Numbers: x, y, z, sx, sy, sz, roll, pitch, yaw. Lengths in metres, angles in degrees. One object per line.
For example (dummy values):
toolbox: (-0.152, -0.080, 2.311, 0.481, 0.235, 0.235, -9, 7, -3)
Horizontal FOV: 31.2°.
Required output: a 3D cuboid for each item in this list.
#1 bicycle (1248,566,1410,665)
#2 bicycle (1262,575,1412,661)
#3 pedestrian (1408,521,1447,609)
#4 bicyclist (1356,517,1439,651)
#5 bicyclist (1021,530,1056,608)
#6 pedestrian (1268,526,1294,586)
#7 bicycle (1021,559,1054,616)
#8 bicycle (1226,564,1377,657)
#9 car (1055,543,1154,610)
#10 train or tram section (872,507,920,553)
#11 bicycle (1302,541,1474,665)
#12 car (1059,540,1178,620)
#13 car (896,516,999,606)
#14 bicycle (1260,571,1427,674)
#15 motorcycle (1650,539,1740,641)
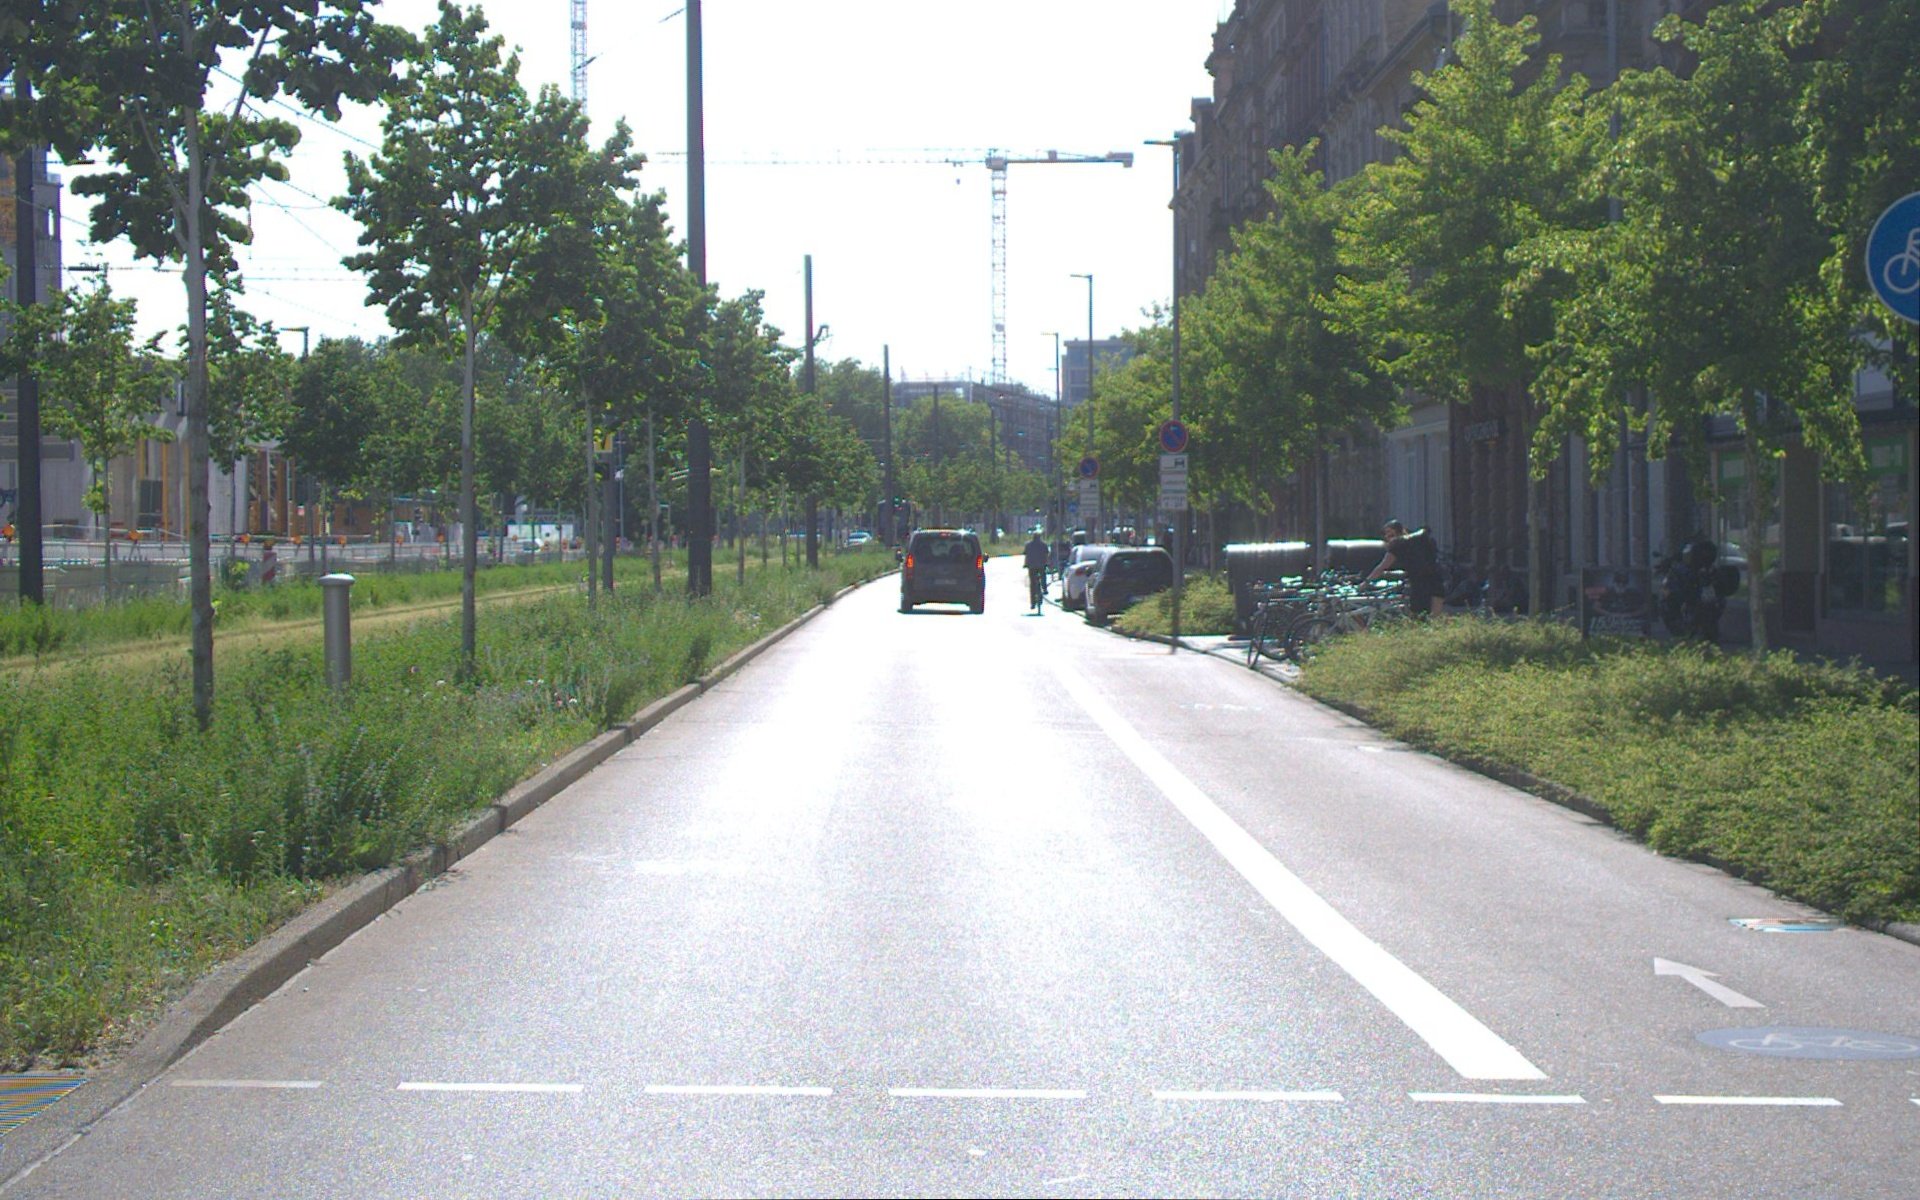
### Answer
bicycle: (4.386, 0.184, 40.944, 1.792, 1.027, 0.527, -5, 1, 0)
bicycle: (4.663, 0.217, 42.581, 1.792, 1.027, 0.527, -1, 1, 0)
pedestrian: (8.653, -0.655, 63.637, 0.614, 1.606, 0.669, -1, 1, -1)
bicyclist: (5.230, -0.199, 41.098, 0.798, 1.525, 0.662, -5, 1, 1)
bicyclist: (1.699, -0.688, 74.752, 0.684, 1.667, 0.922, 2, 1, -1)
pedestrian: (8.595, -1.175, 92.050, 0.614, 1.606, 0.669, -1, 1, -1)
bicycle: (1.683, -0.279, 74.552, 0.601, 1.177, 1.869, 2, 1, -1)
bicycle: (4.360, 0.130, 43.924, 1.792, 1.027, 0.527, -5, 1, 0)
car: (3.327, -0.563, 79.775, 2.028, 1.493, 4.530, -1, 1, -1)
train or tram section: (-4.026, -4.418, 219.199, 2.756, 2.733, 9.864, 1, 0, 0)
bicycle: (5.110, 0.033, 41.118, 1.894, 1.326, 0.617, -5, 1, 1)
car: (3.061, -0.424, 67.341, 2.028, 1.493, 4.654, -1, 1, -1)
car: (-0.309, -0.878, 76.400, 2.200, 1.919, 4.654, -1, 1, -1)
bicycle: (4.411, 0.253, 39.571, 1.792, 1.027, 0.527, -5, 1, 0)
motorcycle: (9.428, -0.145, 44.159, 0.700, 1.263, 1.982, -1, 1, -1)
